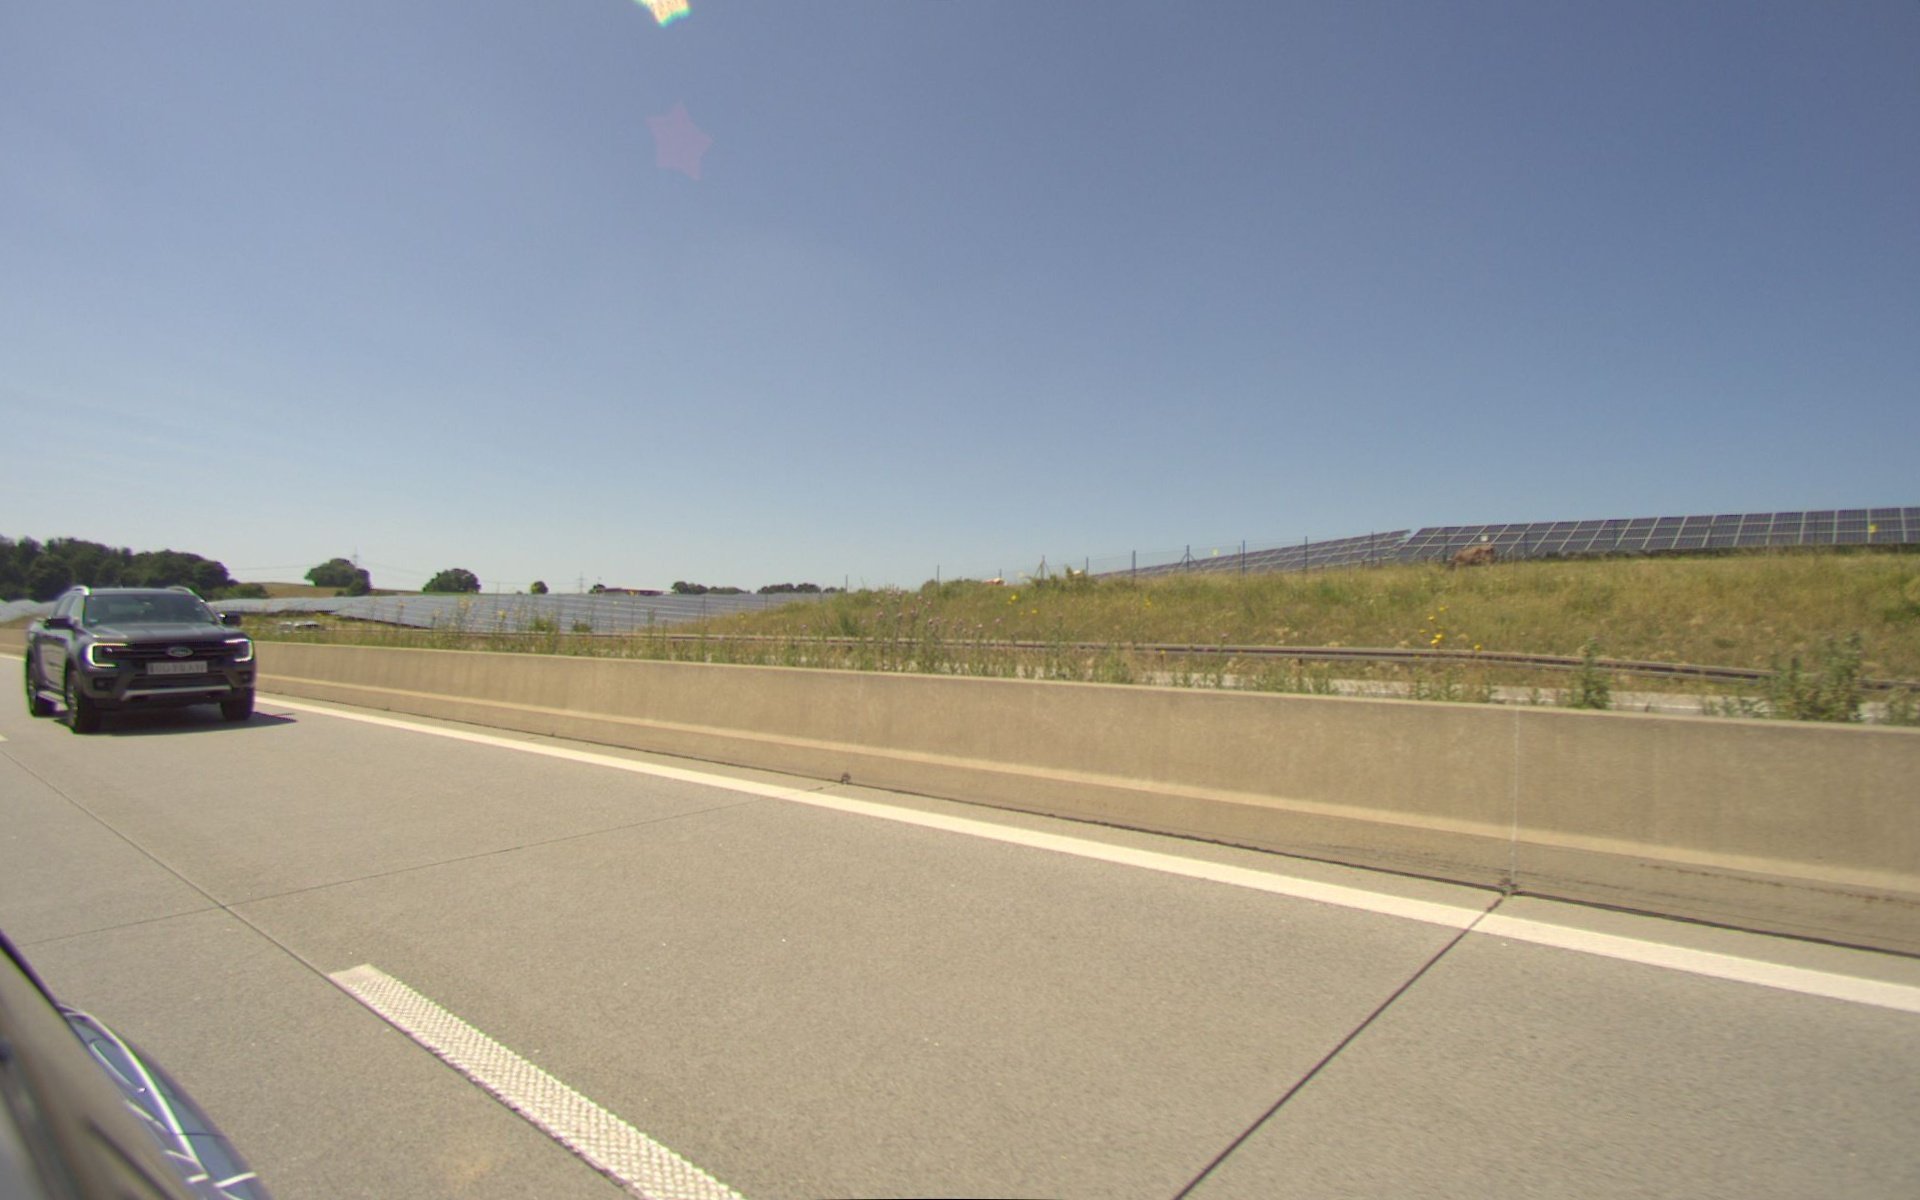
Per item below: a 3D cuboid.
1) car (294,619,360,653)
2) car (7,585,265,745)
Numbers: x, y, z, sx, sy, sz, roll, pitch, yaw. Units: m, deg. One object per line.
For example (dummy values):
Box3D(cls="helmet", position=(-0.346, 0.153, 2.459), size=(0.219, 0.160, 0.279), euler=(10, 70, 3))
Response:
Box3D(cls="car", position=(-29.076, 1.626, 46.462), size=(3.762, 1.463, 1.568), euler=(-1, -1, 41))
Box3D(cls="car", position=(-12.134, 0.779, 14.670), size=(6.529, 1.860, 1.972), euler=(-1, 0, 42))
